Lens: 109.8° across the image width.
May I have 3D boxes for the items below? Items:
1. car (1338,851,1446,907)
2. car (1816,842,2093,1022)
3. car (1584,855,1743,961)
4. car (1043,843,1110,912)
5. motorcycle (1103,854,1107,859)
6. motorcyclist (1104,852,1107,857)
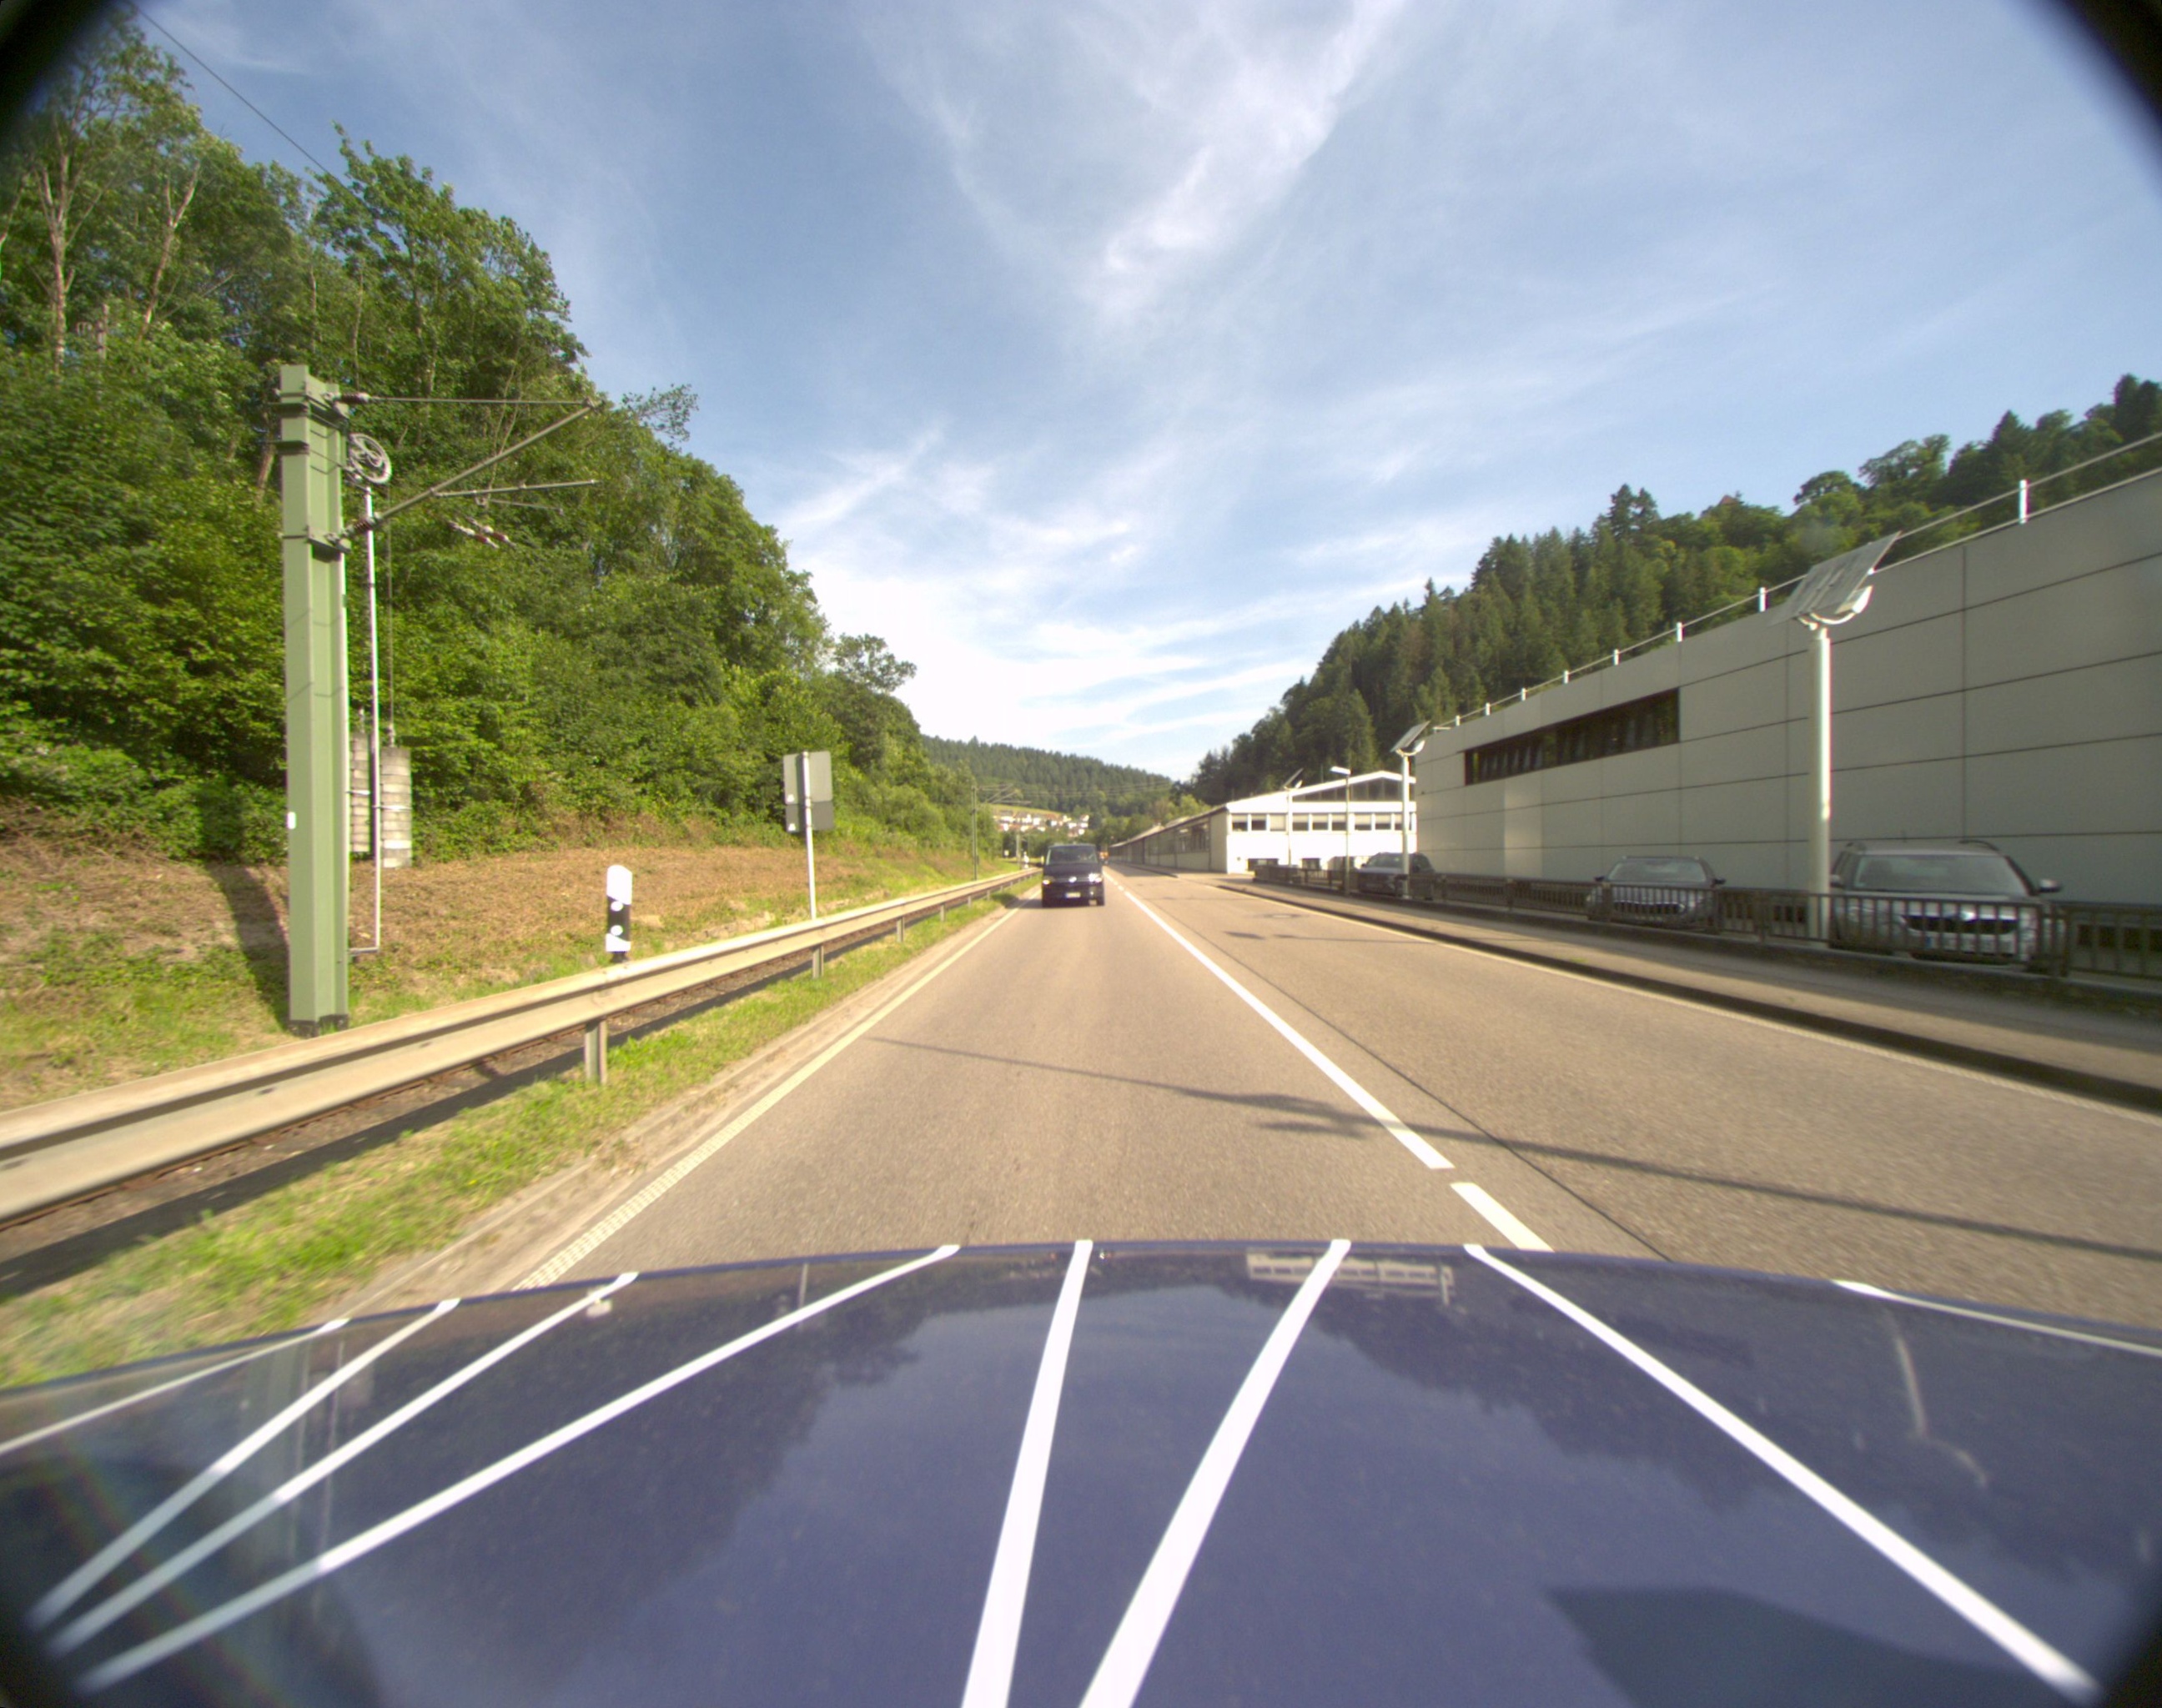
[{"bbox_3d":[10.151,0.747,24.635,1.883,1.582,4.183,-1,1,42],"label":"car"},{"bbox_3d":[10.454,0.739,9.427,1.776,1.698,4.119,-1,1,42],"label":"car"},{"bbox_3d":[10.520,0.819,13.587,1.883,1.486,4.498,-1,1,42],"label":"car"},{"bbox_3d":[-0.252,0.677,24.684,1.901,1.927,5.187,-2,0,-3],"label":"car"},{"bbox_3d":[4.973,0.518,155.757,0.743,1.062,2.492,-2,0,0],"label":"motorcycle"},{"bbox_3d":[4.998,0.093,155.658,0.587,1.118,0.636,-2,1,0],"label":"motorcyclist"}]
